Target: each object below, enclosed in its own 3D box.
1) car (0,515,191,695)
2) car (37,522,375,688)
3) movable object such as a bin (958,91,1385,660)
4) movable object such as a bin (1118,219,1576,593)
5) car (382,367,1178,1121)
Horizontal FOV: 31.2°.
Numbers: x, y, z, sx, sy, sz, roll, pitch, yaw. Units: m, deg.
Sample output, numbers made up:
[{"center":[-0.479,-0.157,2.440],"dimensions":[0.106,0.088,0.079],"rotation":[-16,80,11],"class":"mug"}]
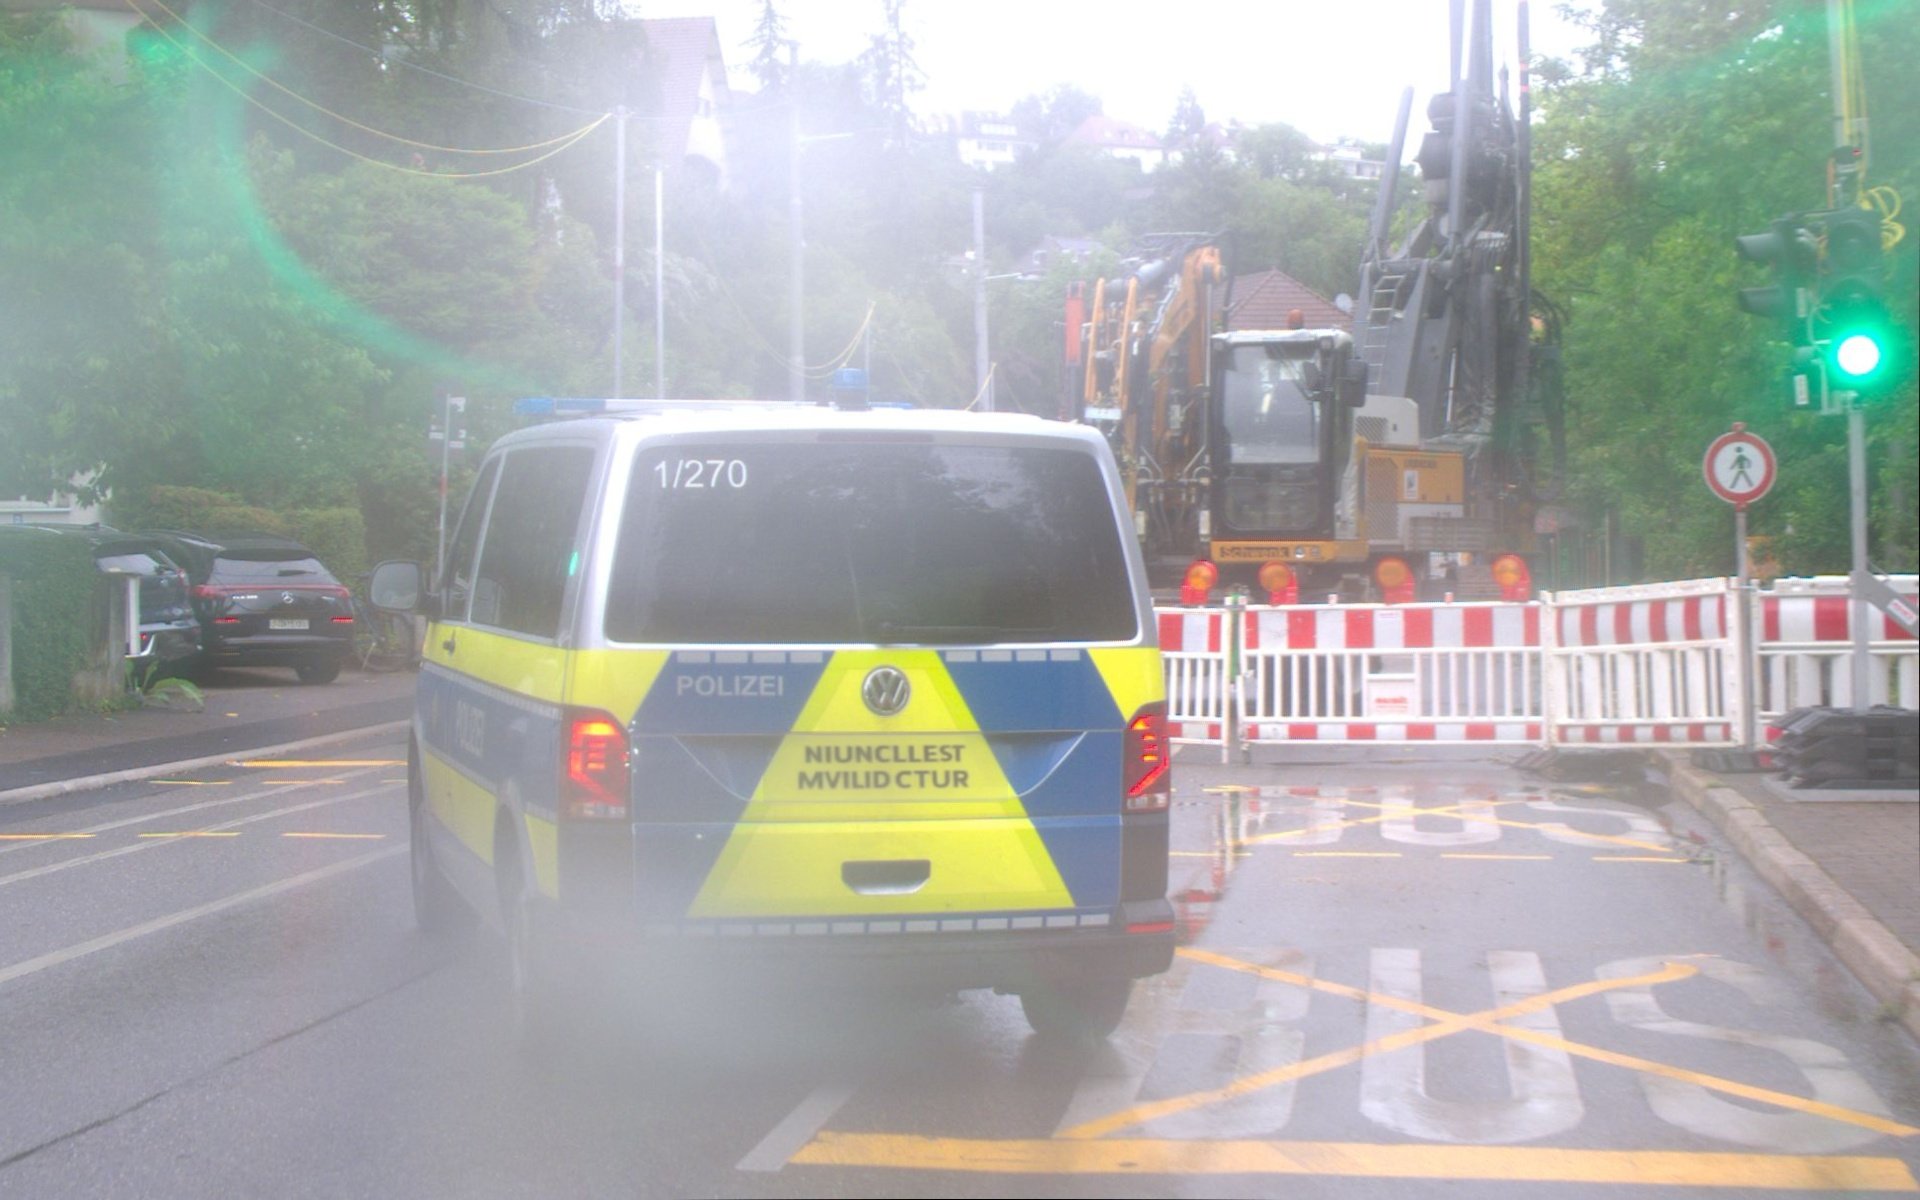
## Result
[{"center":[-9.120,0.017,30.602],"dimensions":[3.990,1.520,1.939],"rotation":[1,0,17],"class":"car"},{"center":[-7.433,0.014,33.656],"dimensions":[1.781,1.520,3.999],"rotation":[1,1,-36],"class":"car"},{"center":[1.838,-1.718,27.809],"dimensions":[2.880,4.156,4.486],"rotation":[-1,2,10],"class":"movable object such as a bin"},{"center":[5.865,-2.703,51.003],"dimensions":[3.690,5.049,7.148],"rotation":[-1,0,35],"class":"movable object such as a bin"},{"center":[-0.831,0.375,11.522],"dimensions":[1.907,2.003,4.441],"rotation":[1,0,-13],"class":"car"}]
